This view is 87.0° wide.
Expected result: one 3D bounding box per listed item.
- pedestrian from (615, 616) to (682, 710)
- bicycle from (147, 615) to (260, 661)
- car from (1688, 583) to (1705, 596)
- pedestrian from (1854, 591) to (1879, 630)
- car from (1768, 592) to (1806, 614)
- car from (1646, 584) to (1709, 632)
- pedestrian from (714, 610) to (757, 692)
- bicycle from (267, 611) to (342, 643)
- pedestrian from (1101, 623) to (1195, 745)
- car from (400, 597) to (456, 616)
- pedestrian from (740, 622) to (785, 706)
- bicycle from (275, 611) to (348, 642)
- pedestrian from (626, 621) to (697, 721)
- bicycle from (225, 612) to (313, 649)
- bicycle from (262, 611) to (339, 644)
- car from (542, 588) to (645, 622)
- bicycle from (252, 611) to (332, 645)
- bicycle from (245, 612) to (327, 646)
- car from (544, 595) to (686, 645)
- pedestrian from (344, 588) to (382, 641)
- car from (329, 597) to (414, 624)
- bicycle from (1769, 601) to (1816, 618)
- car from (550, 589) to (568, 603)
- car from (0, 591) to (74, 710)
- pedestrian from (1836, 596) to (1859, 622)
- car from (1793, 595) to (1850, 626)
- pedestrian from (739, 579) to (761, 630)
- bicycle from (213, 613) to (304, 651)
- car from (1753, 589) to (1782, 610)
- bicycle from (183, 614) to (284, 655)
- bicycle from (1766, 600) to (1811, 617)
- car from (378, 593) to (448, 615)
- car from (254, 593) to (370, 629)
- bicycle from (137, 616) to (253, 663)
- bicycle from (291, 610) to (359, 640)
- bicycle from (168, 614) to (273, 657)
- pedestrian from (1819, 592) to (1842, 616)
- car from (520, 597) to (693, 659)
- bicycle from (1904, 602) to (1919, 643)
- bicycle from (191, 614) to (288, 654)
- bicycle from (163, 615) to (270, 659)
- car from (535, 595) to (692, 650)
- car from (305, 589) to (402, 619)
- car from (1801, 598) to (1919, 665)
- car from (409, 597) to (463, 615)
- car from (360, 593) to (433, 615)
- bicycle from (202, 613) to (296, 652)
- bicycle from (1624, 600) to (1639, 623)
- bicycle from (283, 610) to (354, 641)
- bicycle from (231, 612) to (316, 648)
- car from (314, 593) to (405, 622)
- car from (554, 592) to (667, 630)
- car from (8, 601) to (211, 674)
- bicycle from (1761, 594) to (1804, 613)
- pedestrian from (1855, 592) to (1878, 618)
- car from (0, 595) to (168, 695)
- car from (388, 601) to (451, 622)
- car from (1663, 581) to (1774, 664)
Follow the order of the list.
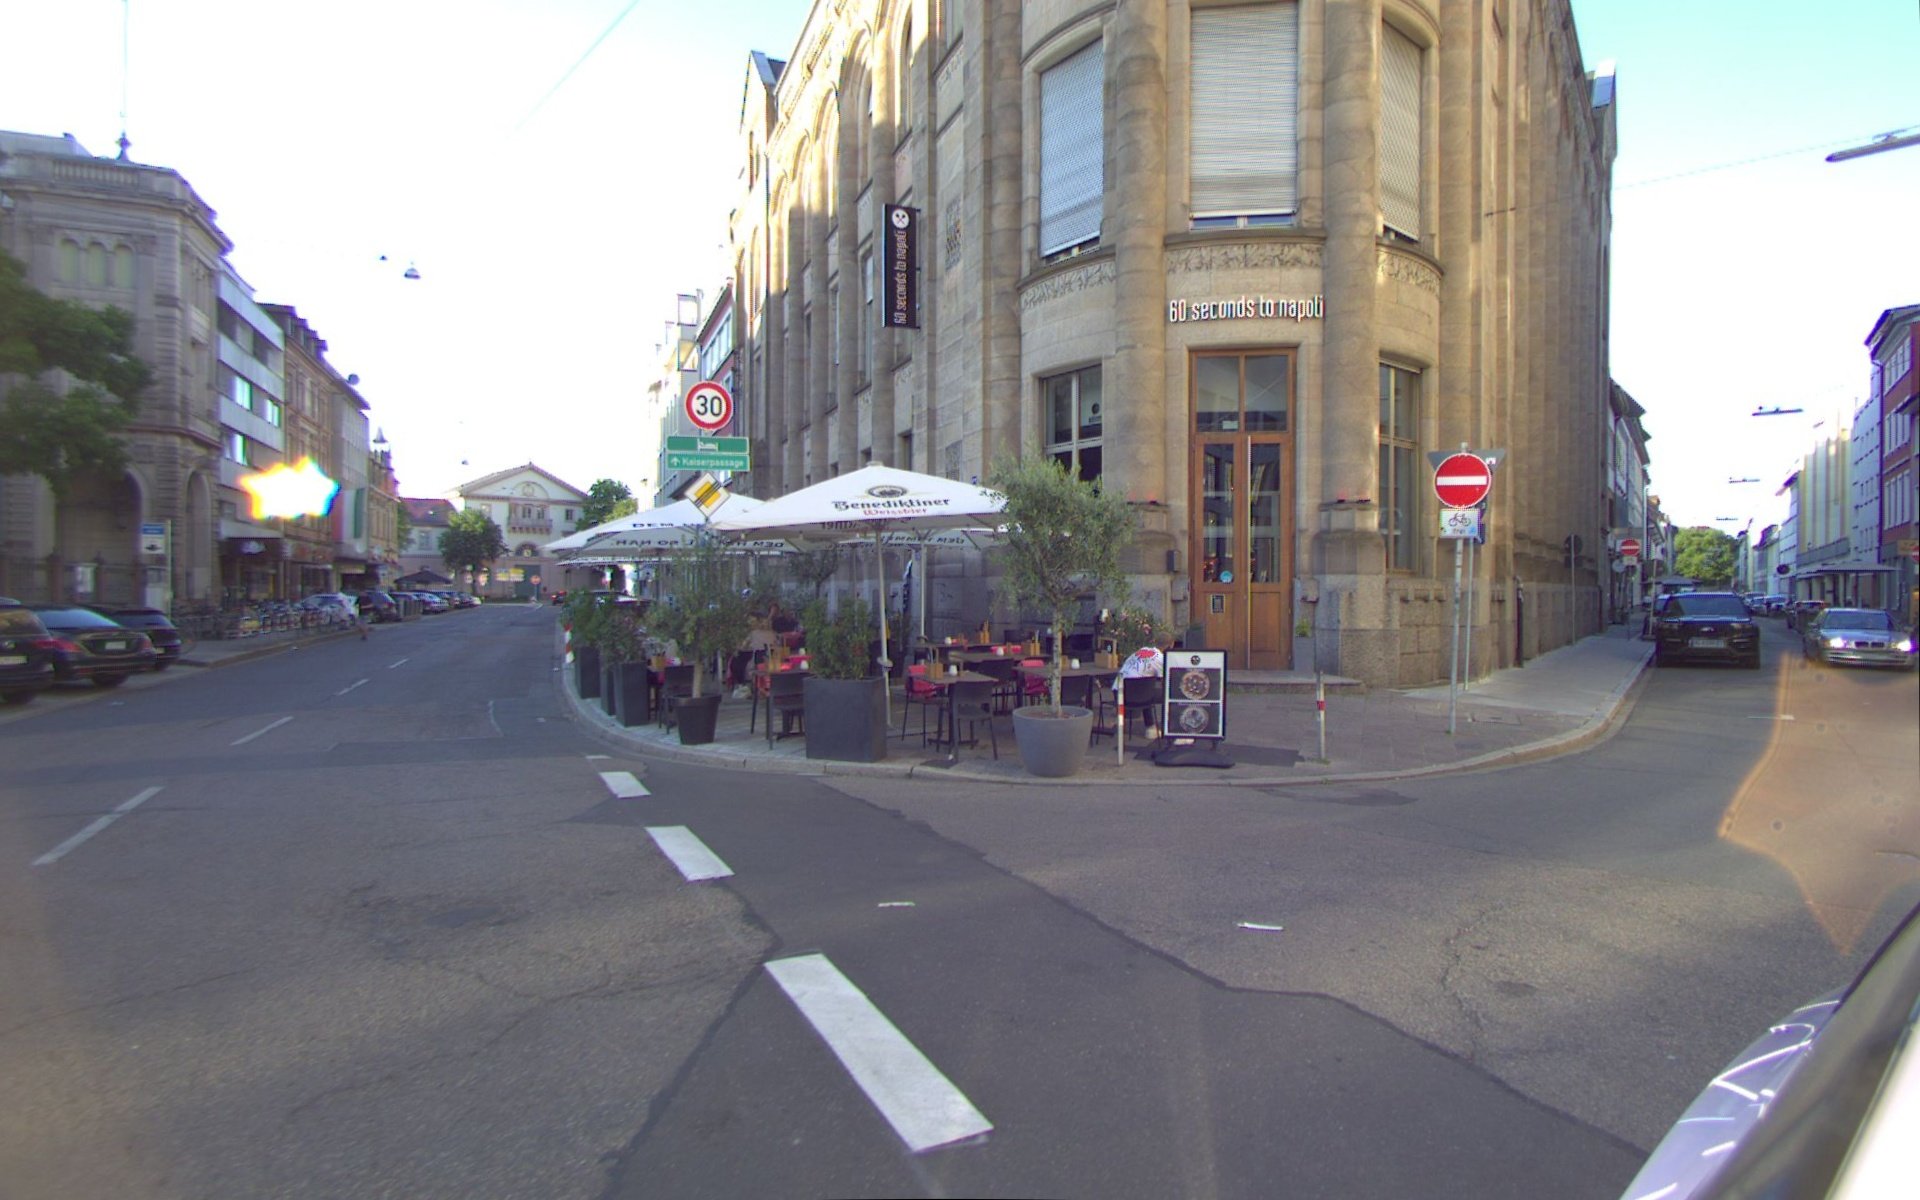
[{"bbox_3d":[-4.349,0.864,14.142,0.679,1.261,0.595,0,-1,28],"label":"pedestrian"},{"bbox_3d":[-19.771,0.985,26.496,2.254,1.104,0.718,-1,0,-26],"label":"bicycle"},{"bbox_3d":[107.462,-1.518,147.687,1.988,1.919,4.400,-1,0,36],"label":"car"},{"bbox_3d":[35.540,0.403,39.671,0.606,1.491,0.542,-1,0,29],"label":"pedestrian"},{"bbox_3d":[64.116,0.215,78.533,1.988,1.698,4.400,-1,0,36],"label":"car"},{"bbox_3d":[26.621,0.246,37.646,1.766,1.687,3.952,0,0,33],"label":"car"},{"bbox_3d":[-3.579,0.790,16.101,0.588,1.261,0.687,0,-1,-19],"label":"pedestrian"},{"bbox_3d":[-24.349,0.985,37.622,2.254,1.104,0.718,-1,0,-26],"label":"bicycle"},{"bbox_3d":[1.976,0.852,10.628,0.808,1.204,0.606,0,-1,-43],"label":"pedestrian"},{"bbox_3d":[-43.698,0.539,83.209,3.916,1.430,1.759,-1,0,-21],"label":"car"},{"bbox_3d":[-2.939,0.934,15.017,0.588,1.204,0.574,0,-1,-19],"label":"pedestrian"},{"bbox_3d":[-24.778,0.984,38.720,2.254,1.104,0.718,-1,0,-26],"label":"bicycle"},{"bbox_3d":[-3.938,0.914,13.359,0.679,1.261,0.595,0,-1,28],"label":"pedestrian"},{"bbox_3d":[-22.447,0.985,32.913,2.254,1.104,0.718,-1,0,-26],"label":"bicycle"},{"bbox_3d":[-23.972,0.984,36.834,2.254,1.104,0.718,-1,0,-26],"label":"bicycle"},{"bbox_3d":[-16.410,0.195,45.506,1.743,1.430,4.148,-1,0,35],"label":"car"},{"bbox_3d":[-23.504,0.984,35.643,2.254,1.104,0.718,-1,0,-26],"label":"bicycle"},{"bbox_3d":[-23.150,0.984,34.823,2.254,1.104,0.718,-1,0,-26],"label":"bicycle"},{"bbox_3d":[-10.803,0.583,31.945,1.743,1.430,4.018,-1,0,35],"label":"car"},{"bbox_3d":[-20.433,0.496,34.661,0.953,1.772,1.004,0,0,-20],"label":"pedestrian"},{"bbox_3d":[-33.424,0.590,57.601,3.916,1.430,1.759,-1,0,-21],"label":"car"},{"bbox_3d":[57.869,0.669,70.342,2.474,1.193,0.772,-1,0,43],"label":"bicycle"},{"bbox_3d":[-44.041,-0.408,111.096,1.718,1.430,4.008,-1,0,-20],"label":"car"},{"bbox_3d":[-16.001,0.724,15.494,3.941,1.742,1.748,1,1,14],"label":"car"},{"bbox_3d":[36.855,0.361,42.035,0.606,1.076,0.542,-1,0,29],"label":"pedestrian"},{"bbox_3d":[43.468,0.503,51.125,1.711,1.479,4.084,-1,0,34],"label":"car"},{"bbox_3d":[-7.282,0.140,35.129,0.616,1.752,0.598,0,0,-28],"label":"pedestrian"},{"bbox_3d":[-22.061,0.986,31.858,2.254,1.104,0.718,-1,0,-26],"label":"bicycle"},{"bbox_3d":[80.269,-0.074,100.623,1.988,2.067,4.400,-1,0,36],"label":"car"},{"bbox_3d":[-20.976,0.986,29.268,2.254,1.104,0.718,-1,0,-26],"label":"bicycle"},{"bbox_3d":[60.195,0.613,73.530,2.474,1.193,0.772,-1,0,43],"label":"bicycle"},{"bbox_3d":[-38.386,0.249,71.090,3.921,1.430,1.756,-1,0,-3],"label":"car"},{"bbox_3d":[-27.980,0.452,43.834,3.916,1.430,1.759,-1,0,-21],"label":"car"},{"bbox_3d":[-19.414,0.984,25.739,2.254,1.104,0.718,-1,0,-26],"label":"bicycle"},{"bbox_3d":[-25.428,0.982,40.573,2.254,1.104,0.718,-1,0,-26],"label":"bicycle"},{"bbox_3d":[-20.645,0.987,28.315,2.254,1.104,0.718,-1,0,-26],"label":"bicycle"},{"bbox_3d":[38.984,0.179,45.325,0.628,1.081,0.555,-1,0,29],"label":"pedestrian"},{"bbox_3d":[-9.143,0.673,26.435,1.743,1.430,4.018,-1,0,35],"label":"car"},{"bbox_3d":[29.764,0.682,31.340,0.542,1.207,1.818,-1,0,36],"label":"bicycle"},{"bbox_3d":[-21.396,0.987,30.120,2.254,1.104,0.718,-1,0,-26],"label":"bicycle"},{"bbox_3d":[-20.197,0.984,27.547,2.254,1.104,0.718,-1,0,-26],"label":"bicycle"},{"bbox_3d":[-9.882,0.604,29.116,1.743,1.430,4.056,-1,0,35],"label":"car"},{"bbox_3d":[-30.437,0.183,50.936,3.916,1.430,1.759,-1,0,-21],"label":"car"},{"bbox_3d":[21.585,0.683,24.168,1.988,1.440,4.400,-1,0,36],"label":"car"},{"bbox_3d":[-44.566,0.493,86.150,3.916,1.430,1.759,-1,0,-21],"label":"car"},{"bbox_3d":[-38.040,0.262,68.407,3.921,1.430,1.756,-1,0,-3],"label":"car"},{"bbox_3d":[-21.727,0.987,30.987,2.254,1.104,0.718,-1,0,-26],"label":"bicycle"},{"bbox_3d":[34.023,0.549,51.247,0.517,1.103,1.729,4,3,36],"label":"bicycle"},{"bbox_3d":[-25.068,0.983,39.610,2.254,1.104,0.718,-1,0,-26],"label":"bicycle"},{"bbox_3d":[-22.814,0.986,33.689,2.254,1.104,0.718,-1,0,-26],"label":"bicycle"},{"bbox_3d":[-31.908,0.359,53.874,3.916,1.430,1.759,-1,0,-21],"label":"car"},{"bbox_3d":[-13.997,0.413,40.698,1.743,1.430,4.093,-1,0,35],"label":"car"},{"bbox_3d":[-18.345,0.784,21.841,3.953,1.430,1.742,-1,0,23],"label":"car"},{"bbox_3d":[61.710,0.264,75.932,2.474,1.347,0.772,-1,0,43],"label":"bicycle"},{"bbox_3d":[37.858,0.216,42.259,0.597,1.076,0.542,-1,0,29],"label":"pedestrian"},{"bbox_3d":[-16.500,0.767,18.292,3.953,1.628,1.742,-1,0,23],"label":"car"},{"bbox_3d":[-39.726,0.862,74.443,3.916,1.430,1.759,-1,0,-21],"label":"car"},{"bbox_3d":[18.371,0.487,24.706,1.987,1.806,4.872,0,0,35],"label":"car"}]
